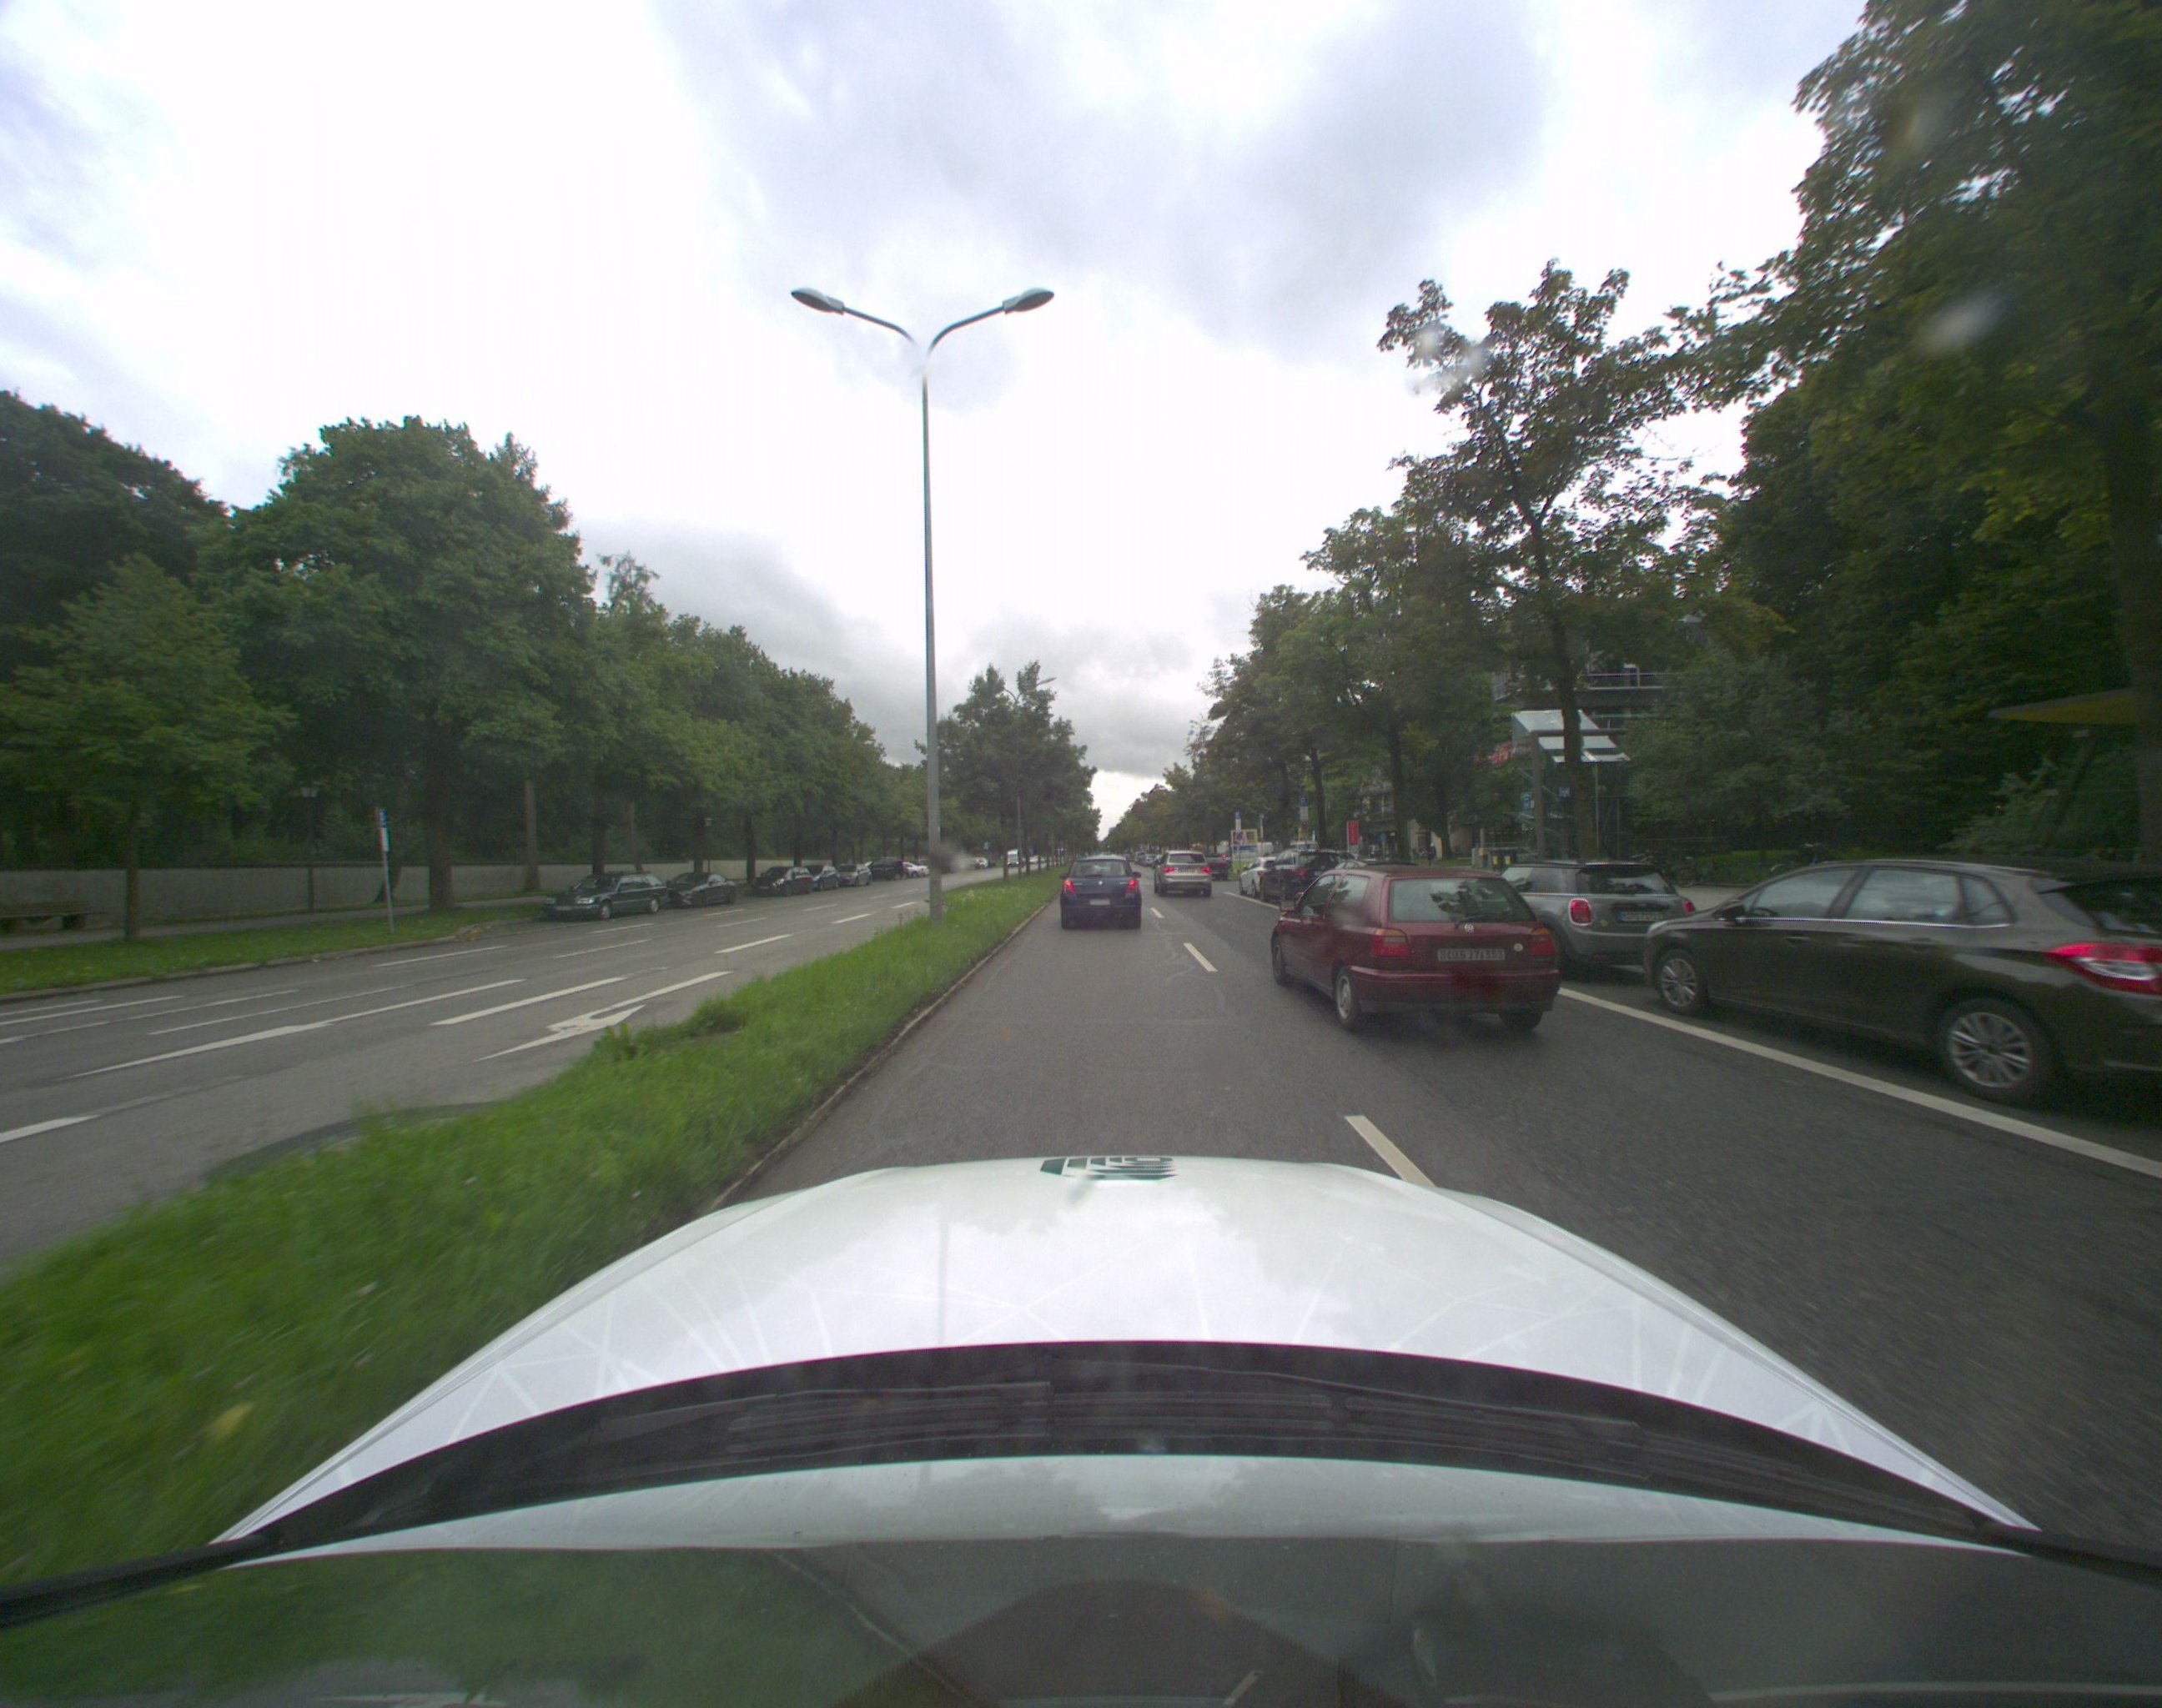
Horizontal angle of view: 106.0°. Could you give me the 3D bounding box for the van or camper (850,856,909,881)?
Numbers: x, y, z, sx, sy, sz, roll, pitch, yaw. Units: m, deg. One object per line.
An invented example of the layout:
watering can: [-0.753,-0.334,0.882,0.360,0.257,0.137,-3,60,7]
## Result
van or camper: [-15.936,1.156,64.636,4.146,1.854,1.829,-1,0,-39]

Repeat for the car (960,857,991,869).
car: [-15.273,1.269,118.016,4.122,1.652,1.900,-1,0,-32]

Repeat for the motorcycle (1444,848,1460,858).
motorcycle: [33.451,-0.052,73.427,0.847,0.865,1.572,-1,0,9]

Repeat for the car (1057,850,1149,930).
car: [0.436,0.722,18.187,1.783,1.555,3.999,-1,0,0]

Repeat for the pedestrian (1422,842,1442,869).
pedestrian: [23.097,0.069,53.567,0.825,1.721,0.940,-3,0,1]

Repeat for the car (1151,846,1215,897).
car: [3.705,0.611,30.348,1.844,1.743,4.097,-1,0,0]

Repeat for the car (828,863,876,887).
car: [-14.872,1.348,53.140,1.629,1.439,4.812,0,0,3]

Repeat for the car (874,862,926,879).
car: [-15.792,1.412,71.130,4.015,1.354,1.831,-1,0,-34]

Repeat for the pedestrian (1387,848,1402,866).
pedestrian: [23.741,0.243,61.704,0.695,1.290,0.732,-4,-1,-8]

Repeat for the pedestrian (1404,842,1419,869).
pedestrian: [22.133,0.101,54.581,0.536,1.721,0.988,-3,0,1]

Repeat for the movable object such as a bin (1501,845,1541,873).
movable object such as a bin: [22.878,0.244,42.398,1.332,1.409,1.314,-1,0,-1]

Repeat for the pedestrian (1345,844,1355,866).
pedestrian: [21.752,0.096,65.898,0.572,1.751,0.733,-1,0,6]

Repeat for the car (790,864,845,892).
car: [-15.067,1.333,46.842,1.581,1.459,4.799,0,0,0]

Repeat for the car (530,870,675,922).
car: [-15.698,1.315,27.073,1.792,1.490,4.916,0,0,1]

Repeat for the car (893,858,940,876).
car: [-16.064,1.230,79.635,4.127,1.597,1.897,-1,0,-38]

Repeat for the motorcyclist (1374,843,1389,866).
motorcyclist: [23.391,0.059,63.359,0.688,1.737,0.953,-6,0,1]

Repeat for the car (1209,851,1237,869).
car: [12.332,0.496,71.025,1.742,1.479,4.008,-1,0,0]

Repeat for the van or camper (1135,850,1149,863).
van or camper: [9.565,0.406,127.924,1.937,1.975,4.308,-1,0,2]

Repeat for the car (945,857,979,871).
car: [-15.790,1.319,108.001,4.122,1.695,1.900,-1,0,-32]

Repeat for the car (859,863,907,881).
car: [-16.408,1.469,67.462,3.590,1.354,1.737,-1,0,-29]

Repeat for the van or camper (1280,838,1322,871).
van or camper: [18.196,0.054,67.591,1.986,2.558,5.959,-1,0,2]

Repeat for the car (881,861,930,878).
car: [-15.987,1.381,74.349,4.059,1.381,1.657,-1,0,-34]

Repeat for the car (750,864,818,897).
car: [-15.004,1.301,41.384,1.563,1.503,4.310,0,0,5]

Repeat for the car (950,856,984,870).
car: [-15.558,1.231,111.196,4.122,1.695,1.900,-1,0,-32]

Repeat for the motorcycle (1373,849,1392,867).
motorcycle: [23.415,0.291,63.289,0.693,1.290,2.067,-6,0,1]

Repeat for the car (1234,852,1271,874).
car: [12.225,0.640,58.235,1.758,1.488,3.998,1,0,-1]

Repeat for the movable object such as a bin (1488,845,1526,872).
movable object such as a bin: [22.892,0.245,43.749,1.332,1.409,1.314,-1,0,-1]

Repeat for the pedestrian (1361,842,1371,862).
pedestrian: [24.391,-0.164,69.684,0.572,1.751,0.733,-1,0,6]

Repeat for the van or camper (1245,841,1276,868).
van or camper: [18.494,0.051,84.241,2.016,2.558,5.959,-1,0,2]

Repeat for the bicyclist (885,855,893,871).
bicyclist: [-21.097,0.960,89.508,0.702,1.747,0.923,-1,0,1]

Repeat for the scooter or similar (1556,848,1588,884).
scooter or similar: [17.269,0.402,28.670,0.418,1.233,1.238,-1,0,4]

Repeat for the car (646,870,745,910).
car: [-15.418,1.397,32.851,1.653,1.396,4.708,0,0,1]

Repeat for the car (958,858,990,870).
car: [-15.131,1.362,114.988,4.122,1.585,1.900,-1,0,-32]
